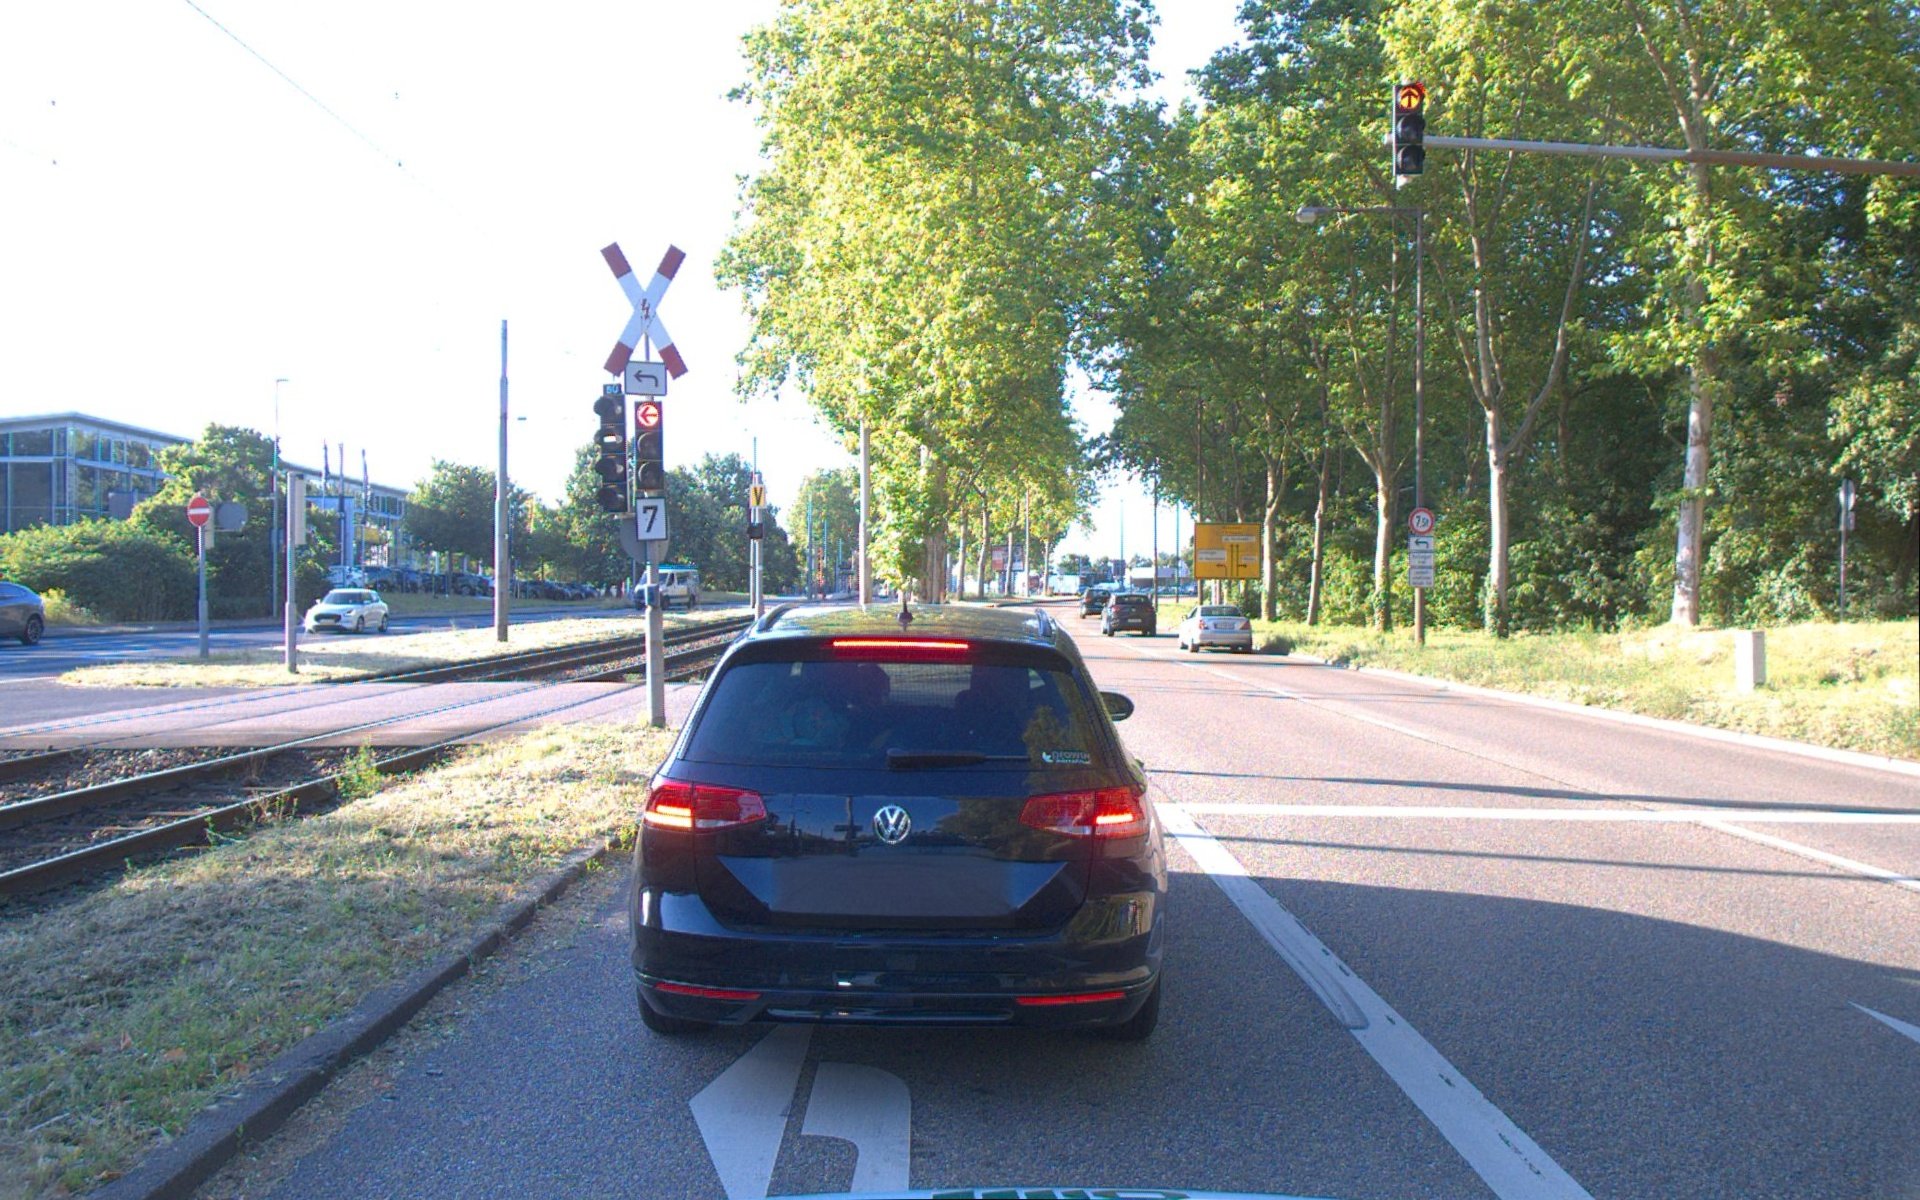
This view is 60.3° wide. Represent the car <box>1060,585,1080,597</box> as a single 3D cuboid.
[{"bbox_3d":[13.763,-1.170,206.883,1.954,1.445,3.997,1,0,-4],"label":"car"}]

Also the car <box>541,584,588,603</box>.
[{"bbox_3d":[-35.513,-0.550,148.542,3.909,1.649,1.742,1,0,-6],"label":"car"}]

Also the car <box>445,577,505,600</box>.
[{"bbox_3d":[-35.568,-0.821,121.265,3.909,1.649,1.742,1,0,-6],"label":"car"}]

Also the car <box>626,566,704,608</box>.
[{"bbox_3d":[-18.082,-0.805,101.735,2.051,2.504,5.854,1,1,19],"label":"car"}]

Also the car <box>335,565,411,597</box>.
[{"bbox_3d":[-32.910,-1.054,92.725,3.930,1.734,1.732,1,0,-22],"label":"car"}]

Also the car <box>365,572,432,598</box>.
[{"bbox_3d":[-35.542,-0.963,104.721,3.930,1.583,1.732,1,0,-22],"label":"car"}]

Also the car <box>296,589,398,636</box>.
[{"bbox_3d":[-21.117,0.397,57.147,1.823,1.507,4.093,1,1,3],"label":"car"}]

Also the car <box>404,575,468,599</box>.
[{"bbox_3d":[-36.037,-0.876,113.810,3.913,1.583,1.740,1,0,-9],"label":"car"}]

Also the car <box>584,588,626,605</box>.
[{"bbox_3d":[-35.958,-0.354,167.445,3.909,1.583,1.742,1,0,-5],"label":"car"}]

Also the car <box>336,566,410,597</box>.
[{"bbox_3d":[-33.693,-1.064,94.964,3.930,1.734,1.732,1,0,-22],"label":"car"}]

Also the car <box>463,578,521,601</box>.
[{"bbox_3d":[-35.238,-0.780,124.481,3.909,1.649,1.742,1,0,-6],"label":"car"}]

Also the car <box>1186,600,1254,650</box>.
[{"bbox_3d":[7.241,0.673,46.351,1.575,1.317,3.985,1,0,4],"label":"car"}]

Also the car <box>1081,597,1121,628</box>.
[{"bbox_3d":[7.654,0.667,89.966,1.834,1.663,4.370,0,0,0],"label":"car"}]

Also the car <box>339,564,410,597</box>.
[{"bbox_3d":[-34.441,-1.128,97.289,3.930,1.848,1.732,1,0,-22],"label":"car"}]

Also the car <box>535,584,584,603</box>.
[{"bbox_3d":[-35.216,-0.575,145.384,3.909,1.649,1.742,1,0,-6],"label":"car"}]

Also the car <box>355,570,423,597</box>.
[{"bbox_3d":[-35.201,-0.989,101.942,3.930,1.583,1.732,1,0,-22],"label":"car"}]

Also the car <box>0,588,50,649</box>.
[{"bbox_3d":[-25.247,0.466,42.076,1.823,1.507,4.172,1,1,1],"label":"car"}]

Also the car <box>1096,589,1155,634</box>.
[{"bbox_3d":[6.030,0.402,60.570,1.673,1.588,4.165,0,0,-1],"label":"car"}]

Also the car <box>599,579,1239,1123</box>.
[{"bbox_3d":[-0.146,0.697,6.398,1.758,1.490,3.582,1,0,-1],"label":"car"}]

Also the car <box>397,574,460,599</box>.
[{"bbox_3d":[-35.706,-0.897,111.116,3.930,1.583,1.732,1,0,-22],"label":"car"}]

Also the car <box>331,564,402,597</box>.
[{"bbox_3d":[-35.548,-1.160,99.027,3.930,1.848,1.732,1,0,-22],"label":"car"}]
